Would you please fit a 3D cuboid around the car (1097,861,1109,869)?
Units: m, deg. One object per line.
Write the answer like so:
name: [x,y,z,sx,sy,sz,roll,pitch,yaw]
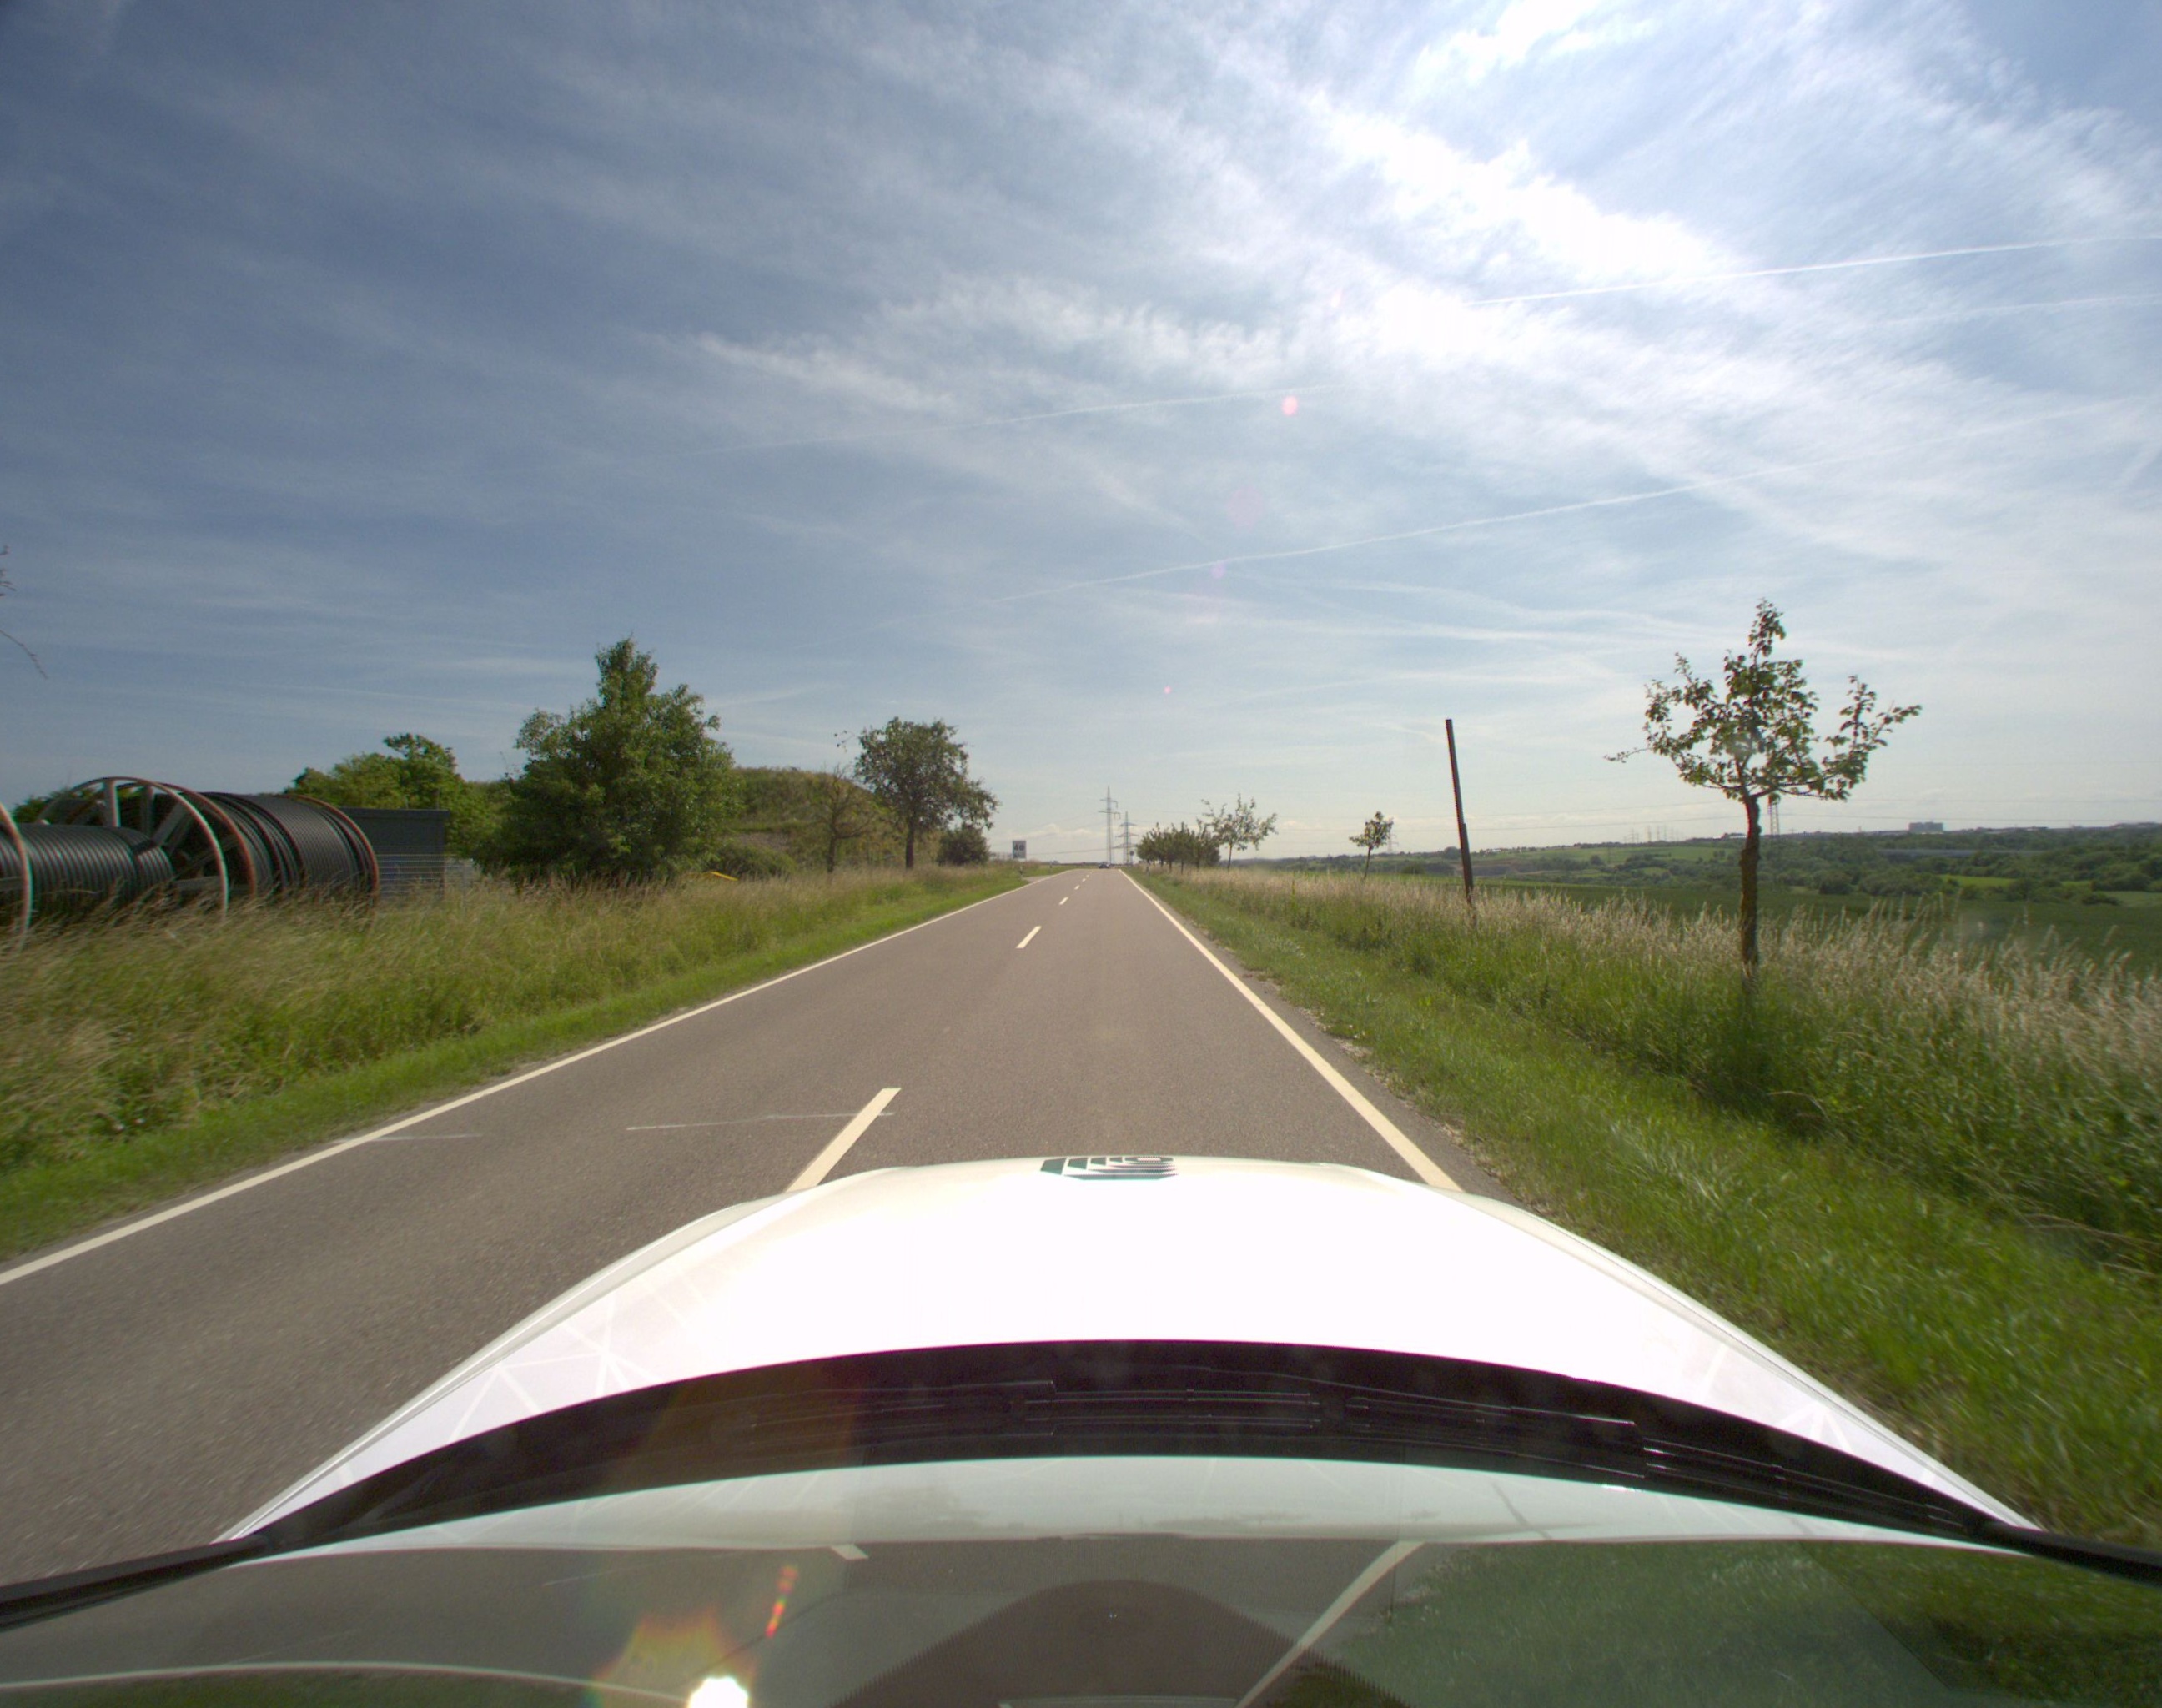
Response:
car: [4.041,1.975,148.131,1.813,1.410,4.007,-1,0,6]
